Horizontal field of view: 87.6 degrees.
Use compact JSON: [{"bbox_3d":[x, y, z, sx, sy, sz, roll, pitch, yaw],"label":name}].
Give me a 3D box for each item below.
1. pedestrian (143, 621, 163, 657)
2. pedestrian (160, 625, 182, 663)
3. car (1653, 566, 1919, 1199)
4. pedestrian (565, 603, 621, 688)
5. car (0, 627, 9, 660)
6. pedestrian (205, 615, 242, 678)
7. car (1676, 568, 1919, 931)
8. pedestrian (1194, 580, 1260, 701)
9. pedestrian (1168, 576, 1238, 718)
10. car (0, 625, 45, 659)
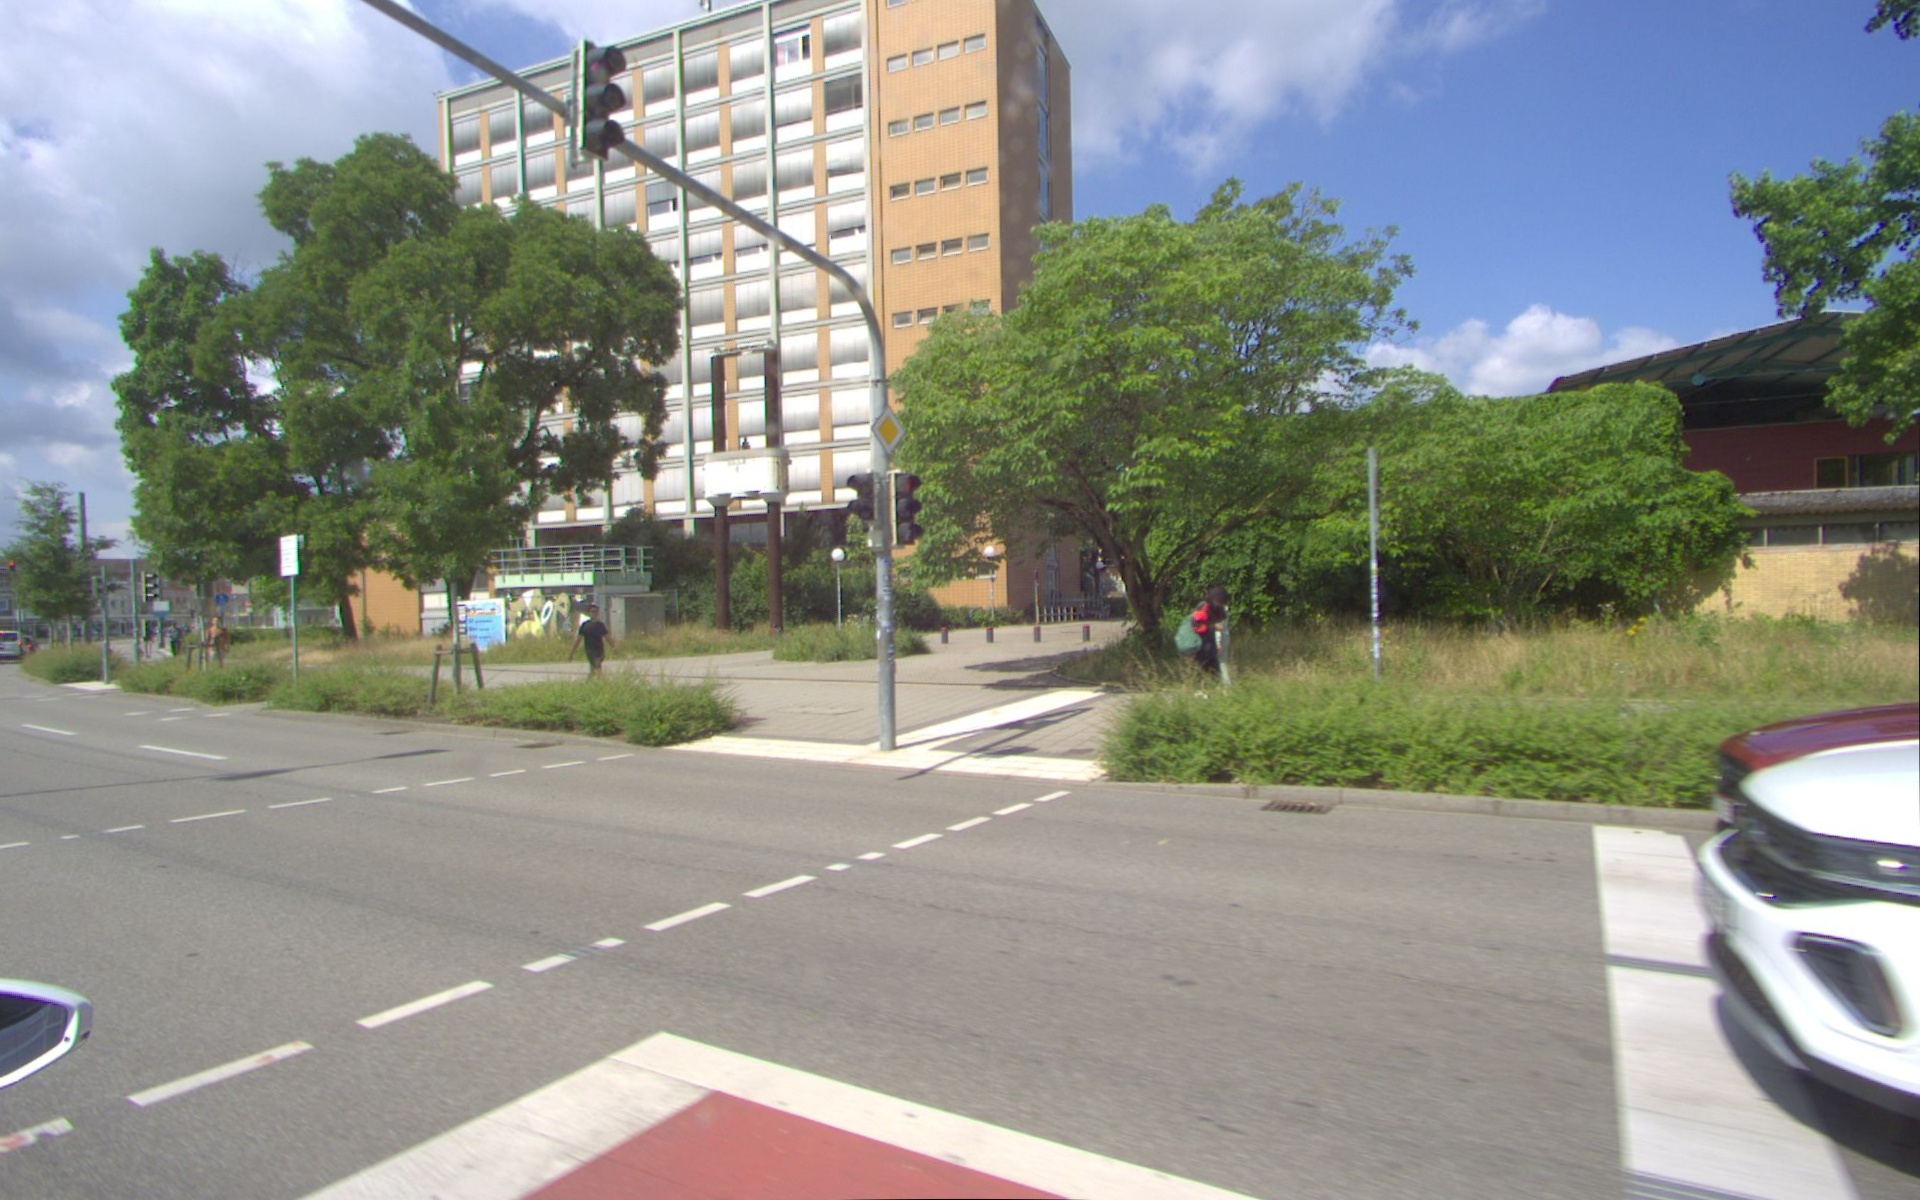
[{"bbox_3d":[-41.708,2.025,51.766,0.781,1.807,0.661,-1,0,-39],"label":"pedestrian"},{"bbox_3d":[-38.285,2.107,48.605,0.782,1.807,0.661,-1,1,-41],"label":"pedestrian"},{"bbox_3d":[4.169,0.690,2.370,3.949,1.559,1.790,-1,-2,28],"label":"car"},{"bbox_3d":[-6.751,0.816,18.434,0.544,1.528,0.768,-1,0,33],"label":"pedestrian"},{"bbox_3d":[-58.544,2.619,59.831,1.974,1.964,4.603,-2,0,-38],"label":"car"},{"bbox_3d":[-20.847,1.304,28.341,0.570,1.756,0.658,-1,1,35],"label":"pedestrian"},{"bbox_3d":[6.140,0.664,4.616,4.393,1.662,1.680,-1,0,28],"label":"car"},{"bbox_3d":[3.835,0.562,14.345,0.710,1.660,0.867,-1,0,29],"label":"pedestrian"},{"bbox_3d":[3.120,0.586,12.830,0.669,1.758,0.741,-1,0,31],"label":"pedestrian"},{"bbox_3d":[-52.784,2.330,55.948,1.975,1.818,3.971,-2,0,-36],"label":"car"}]
